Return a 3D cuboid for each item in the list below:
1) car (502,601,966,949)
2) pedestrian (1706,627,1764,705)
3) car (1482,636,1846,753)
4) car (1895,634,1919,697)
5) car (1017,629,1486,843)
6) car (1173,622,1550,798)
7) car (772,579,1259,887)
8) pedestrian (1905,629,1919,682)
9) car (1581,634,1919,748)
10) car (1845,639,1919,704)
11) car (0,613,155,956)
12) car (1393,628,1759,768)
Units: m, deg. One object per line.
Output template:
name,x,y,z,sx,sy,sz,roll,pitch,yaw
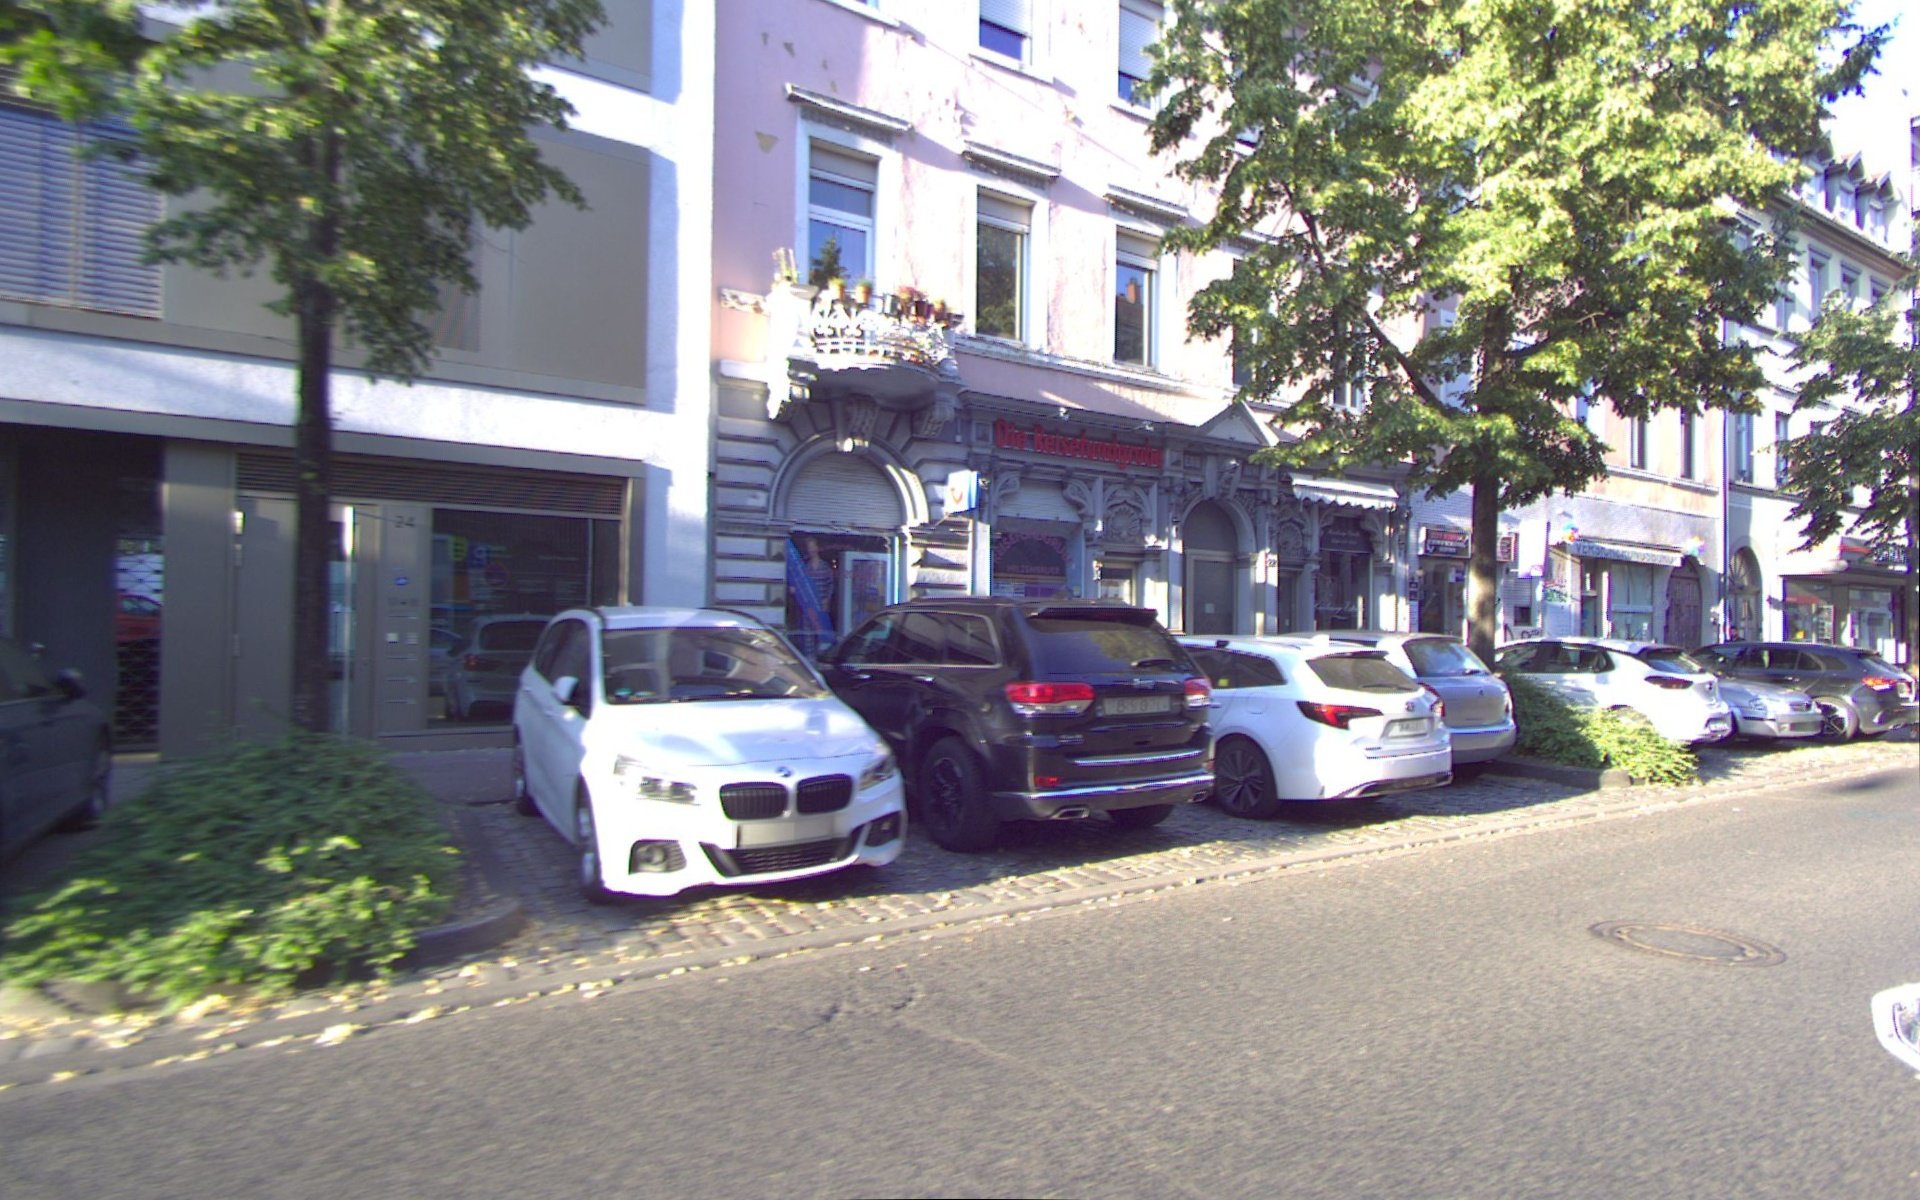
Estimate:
car,-1.905,0.831,7.053,1.869,1.617,4.383,1,0,-31
pedestrian,17.950,1.514,23.259,0.866,1.744,0.768,3,-1,-31
car,10.232,1.282,14.944,1.821,1.422,4.080,2,-2,-29
car,25.463,1.662,24.118,1.862,1.557,4.052,2,-1,-30
car,2.459,1.057,9.476,1.748,1.440,4.125,2,-1,-33
car,4.226,1.052,11.060,1.697,1.522,3.537,2,-1,-32
car,0.154,0.801,8.127,1.870,1.796,4.125,2,-1,-33
pedestrian,30.008,1.740,31.166,0.866,1.629,0.768,3,-1,-31
car,12.396,1.310,15.792,1.864,1.422,4.082,2,-1,-33
car,22.922,1.654,22.344,1.801,1.426,4.545,2,-1,-32
car,-5.605,0.819,5.080,1.724,1.503,4.525,1,-1,-30
car,7.924,1.162,13.233,1.787,1.463,3.716,2,-1,-33
